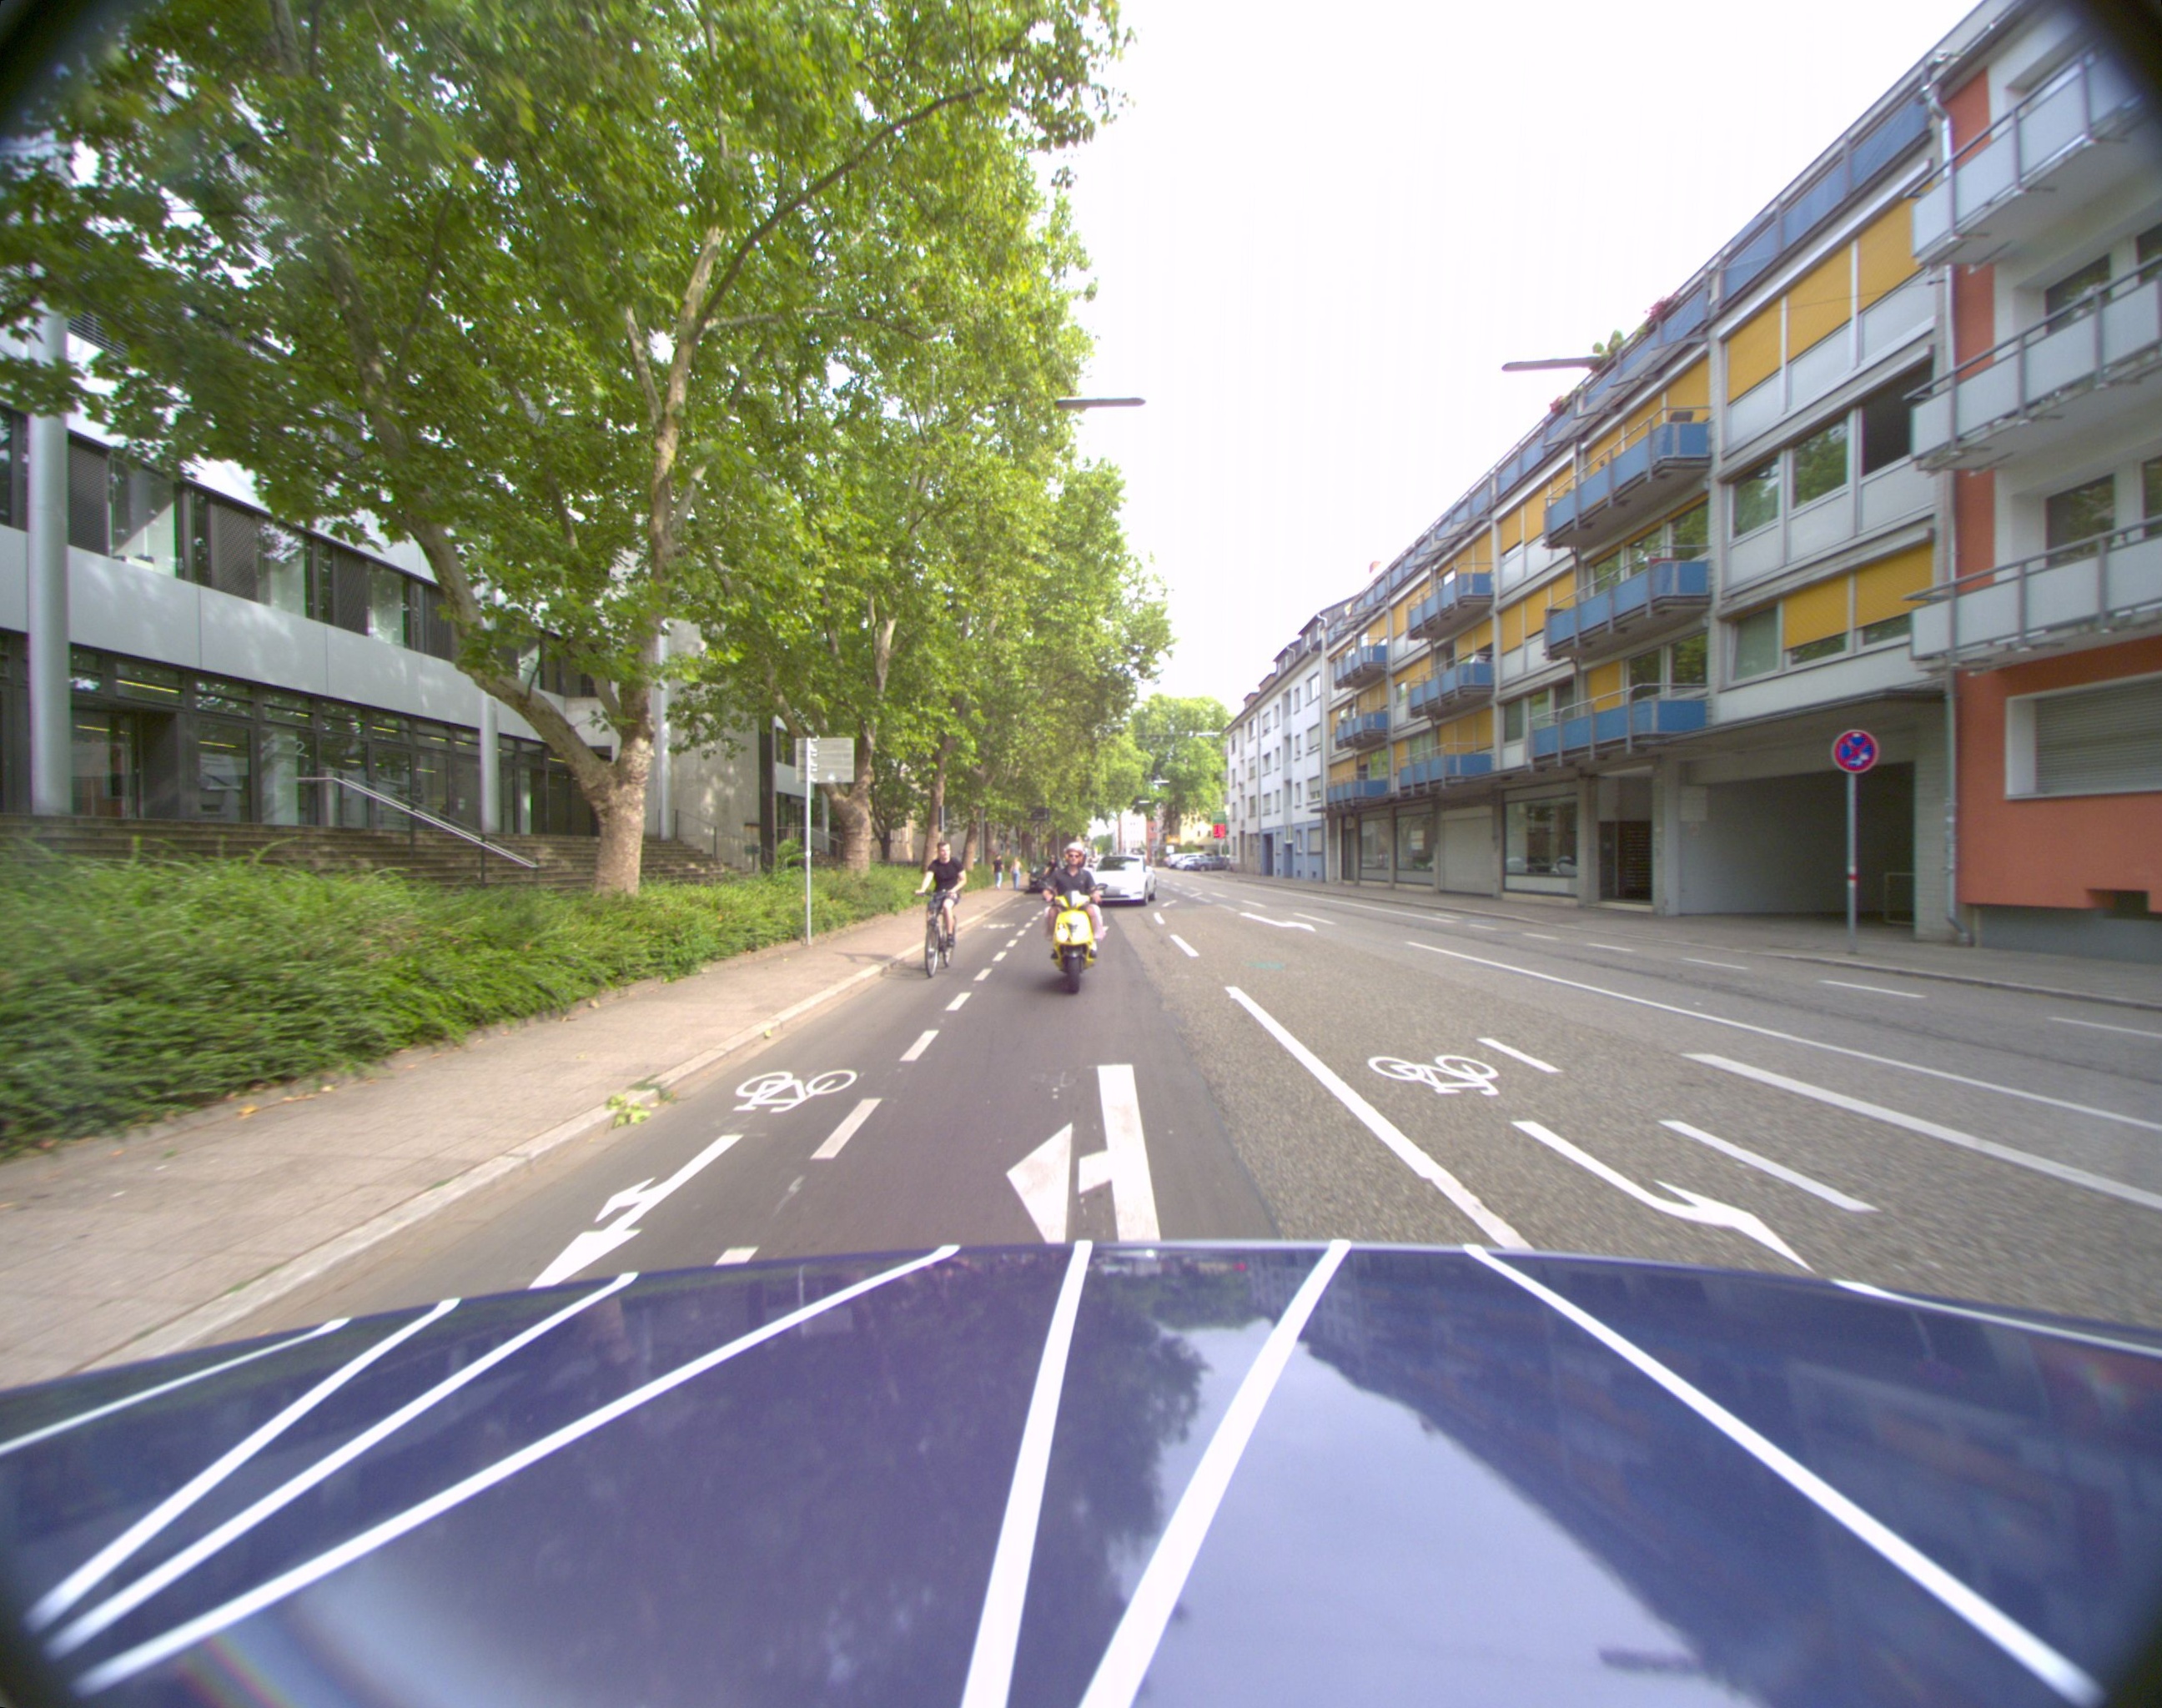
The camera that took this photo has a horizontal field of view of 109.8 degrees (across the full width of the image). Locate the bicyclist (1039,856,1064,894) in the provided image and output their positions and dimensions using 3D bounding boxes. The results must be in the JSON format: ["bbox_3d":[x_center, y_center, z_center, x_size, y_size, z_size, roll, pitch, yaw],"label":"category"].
[{"bbox_3d":[-1.149,0.836,29.947,0.784,1.438,0.914,-2,1,6],"label":"bicyclist"}]

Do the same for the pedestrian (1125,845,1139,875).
[{"bbox_3d":[3.525,0.416,52.592,0.842,2.002,0.875,-2,1,5],"label":"pedestrian"}]

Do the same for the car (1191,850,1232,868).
[{"bbox_3d":[13.616,0.549,79.306,3.870,1.678,1.882,-2,0,0],"label":"car"}]

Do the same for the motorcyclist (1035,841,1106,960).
[{"bbox_3d":[-0.117,0.583,9.710,0.781,1.419,0.689,-3,-1,3],"label":"motorcyclist"}]

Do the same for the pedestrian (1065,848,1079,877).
[{"bbox_3d":[-0.632,0.584,53.169,0.842,2.002,0.875,-2,1,5],"label":"pedestrian"}]

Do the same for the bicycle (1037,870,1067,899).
[{"bbox_3d":[-1.122,1.178,29.835,0.770,1.009,2.409,-1,0,7],"label":"bicycle"}]

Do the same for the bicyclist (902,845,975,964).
[{"bbox_3d":[-1.986,0.682,10.701,0.773,1.574,0.801,-3,0,1],"label":"bicyclist"}]

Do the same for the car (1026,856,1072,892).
[{"bbox_3d":[-1.488,0.929,36.869,1.999,1.532,4.271,-2,0,0],"label":"car"}]

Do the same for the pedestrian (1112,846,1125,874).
[{"bbox_3d":[2.743,0.444,55.296,0.842,2.002,0.875,-2,1,5],"label":"pedestrian"}]

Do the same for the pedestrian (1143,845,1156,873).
[{"bbox_3d":[4.951,0.354,55.104,0.842,2.002,0.875,-2,1,5],"label":"pedestrian"}]

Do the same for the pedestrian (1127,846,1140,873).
[{"bbox_3d":[3.916,0.394,56.427,0.842,2.002,0.875,-2,1,5],"label":"pedestrian"}]

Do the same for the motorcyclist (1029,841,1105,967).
[{"bbox_3d":[-0.151,0.584,9.184,0.781,1.419,0.764,-3,-1,3],"label":"motorcyclist"}]

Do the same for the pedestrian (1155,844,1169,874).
[{"bbox_3d":[5.625,0.330,52.878,0.842,2.002,0.875,-2,1,5],"label":"pedestrian"}]

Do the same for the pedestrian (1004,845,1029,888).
[{"bbox_3d":[-3.115,0.593,36.622,1.003,2.002,0.997,-2,1,2],"label":"pedestrian"}]

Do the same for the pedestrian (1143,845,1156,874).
[{"bbox_3d":[4.759,0.366,52.779,0.842,2.002,0.875,-2,1,5],"label":"pedestrian"}]

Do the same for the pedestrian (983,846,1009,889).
[{"bbox_3d":[-4.102,0.630,36.670,1.003,2.002,0.997,-2,1,2],"label":"pedestrian"}]

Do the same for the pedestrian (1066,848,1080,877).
[{"bbox_3d":[-0.557,0.579,54.304,0.842,2.002,0.875,-2,1,5],"label":"pedestrian"}]

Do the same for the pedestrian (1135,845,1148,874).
[{"bbox_3d":[4.385,0.378,54.657,0.842,2.002,0.875,-2,1,5],"label":"pedestrian"}]

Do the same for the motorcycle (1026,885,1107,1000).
[{"bbox_3d":[-0.125,1.005,9.277,0.781,1.171,1.993,-3,-1,3],"label":"motorcycle"}]

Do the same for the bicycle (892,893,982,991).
[{"bbox_3d":[-1.960,1.170,10.661,0.773,1.124,2.004,-3,0,1],"label":"bicycle"}]

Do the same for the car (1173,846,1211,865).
[{"bbox_3d":[12.590,0.176,86.586,3.997,2.002,2.000,-2,0,0],"label":"car"}]

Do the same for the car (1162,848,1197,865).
[{"bbox_3d":[12.418,0.344,95.891,3.997,2.002,2.000,-2,0,0],"label":"car"}]

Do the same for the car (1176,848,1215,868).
[{"bbox_3d":[12.624,0.416,84.017,3.997,2.002,2.000,-2,0,0],"label":"car"}]

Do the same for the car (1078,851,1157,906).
[{"bbox_3d":[1.295,0.740,24.823,1.997,1.543,4.524,-2,0,10],"label":"car"}]
